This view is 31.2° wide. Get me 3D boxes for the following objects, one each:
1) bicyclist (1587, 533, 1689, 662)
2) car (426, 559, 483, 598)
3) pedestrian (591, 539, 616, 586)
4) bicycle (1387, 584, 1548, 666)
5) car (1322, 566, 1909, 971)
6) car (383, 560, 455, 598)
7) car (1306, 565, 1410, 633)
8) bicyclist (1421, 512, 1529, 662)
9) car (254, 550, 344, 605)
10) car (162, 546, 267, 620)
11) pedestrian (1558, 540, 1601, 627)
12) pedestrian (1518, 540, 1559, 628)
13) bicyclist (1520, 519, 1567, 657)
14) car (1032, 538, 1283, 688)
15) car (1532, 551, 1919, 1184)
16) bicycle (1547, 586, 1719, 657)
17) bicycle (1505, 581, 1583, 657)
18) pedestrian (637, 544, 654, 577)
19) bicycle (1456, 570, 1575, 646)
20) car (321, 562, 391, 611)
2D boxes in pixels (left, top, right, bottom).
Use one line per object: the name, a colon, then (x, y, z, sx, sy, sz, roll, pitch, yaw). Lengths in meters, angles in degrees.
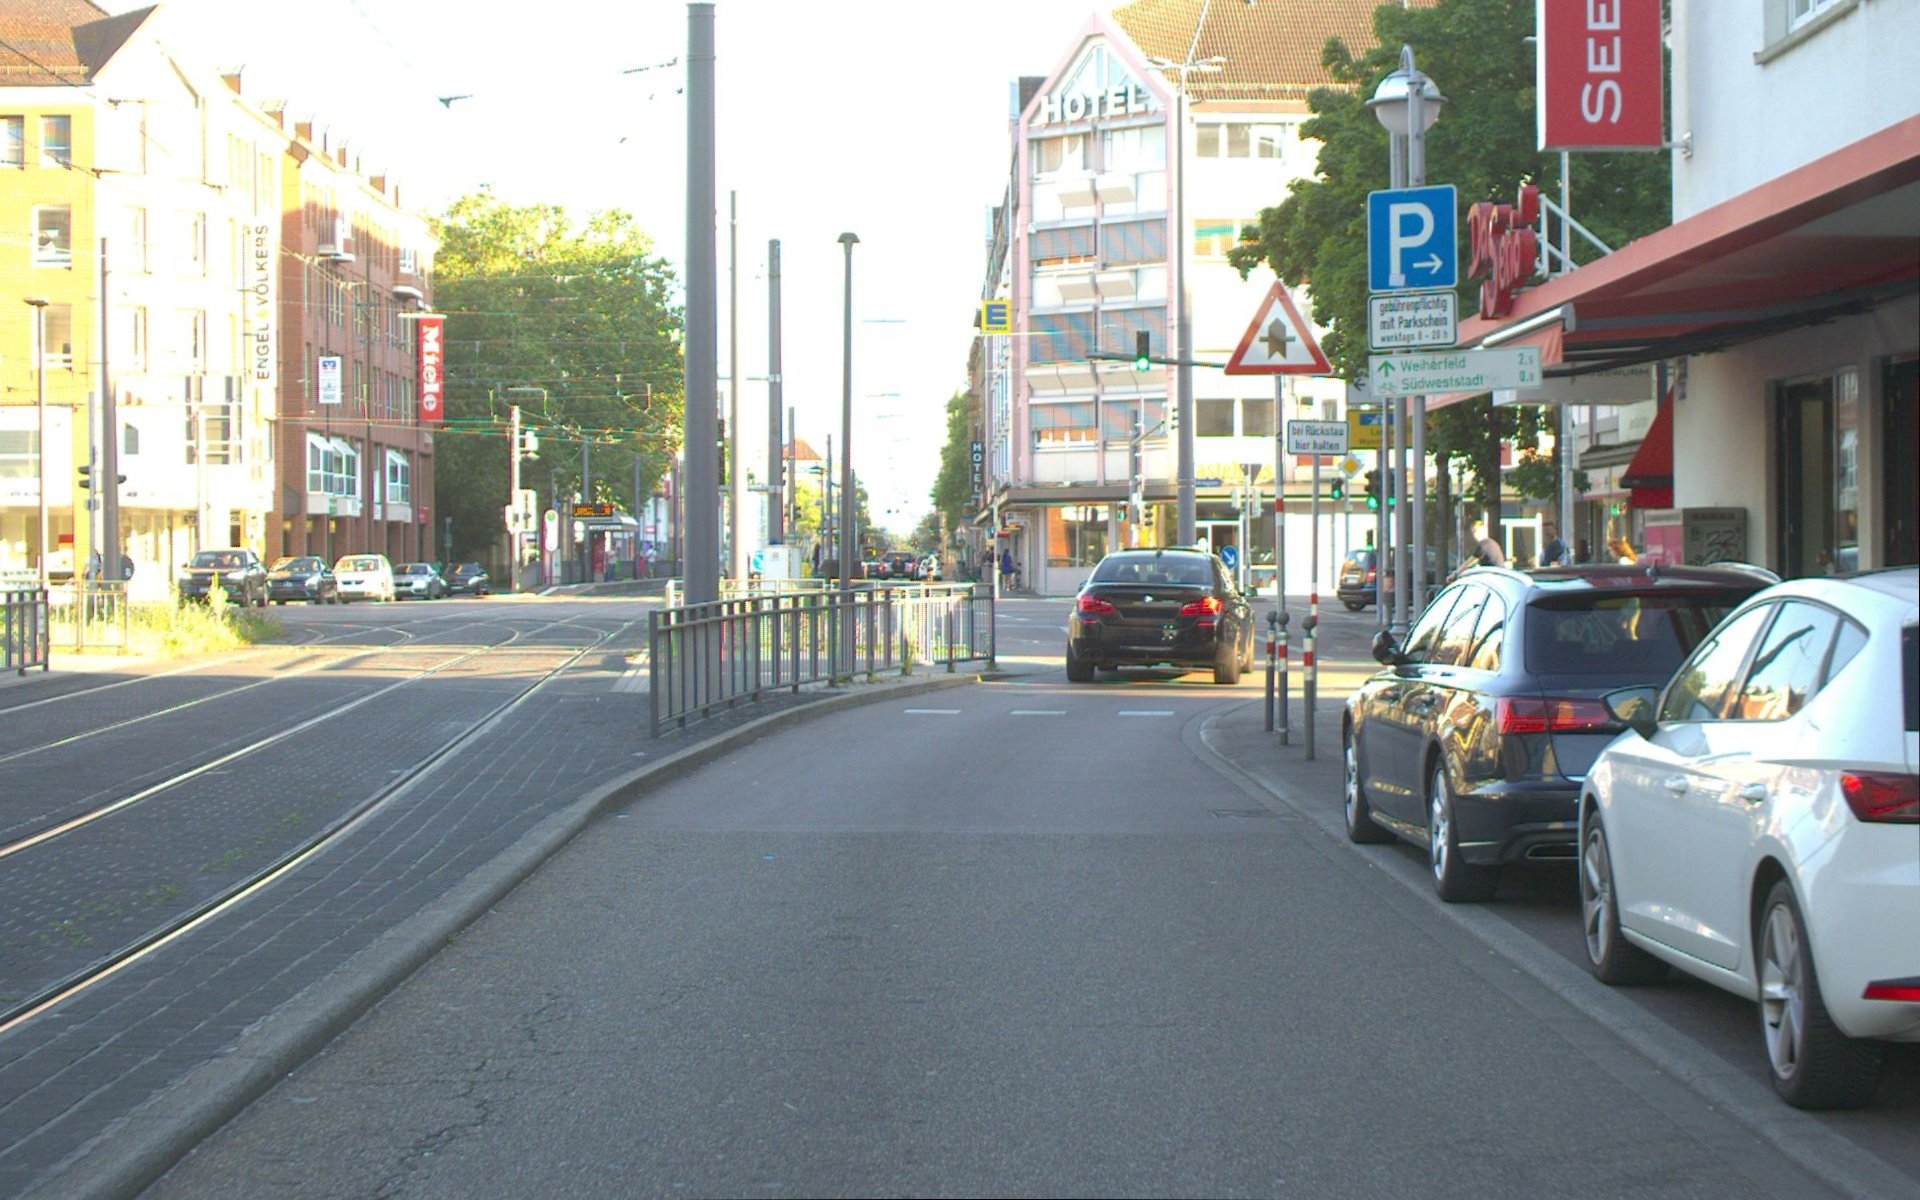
bicyclist: (8.584, -0.040, 43.499, 1.112, 1.617, 0.839, 0, 1, 23)
car: (-21.414, -0.926, 145.818, 1.993, 1.579, 4.479, 0, 1, -3)
pedestrian: (-15.532, -1.632, 149.863, 0.988, 2.007, 0.726, 2, 0, -2)
bicycle: (6.583, 0.317, 44.672, 0.838, 1.016, 2.077, -1, 1, -38)
car: (2.794, 0.632, 15.700, 1.735, 1.507, 4.686, -2, 1, 0)
car: (-20.833, -0.834, 132.455, 1.669, 1.443, 4.201, 0, 1, 6)
car: (9.462, -0.050, 81.966, 1.993, 1.546, 4.000, 0, 1, 0)
bicyclist: (6.675, -0.174, 44.568, 0.838, 1.911, 1.114, -1, 1, -37)
car: (-19.533, -0.691, 101.682, 1.993, 1.579, 4.587, 0, 1, -3)
car: (-19.817, -0.467, 91.559, 1.993, 1.895, 4.812, 0, 1, -3)
pedestrian: (11.767, -0.314, 65.340, 0.723, 1.661, 0.671, 0, 0, 3)
pedestrian: (10.977, -0.306, 65.213, 0.684, 1.661, 0.671, 0, 0, 3)
bicyclist: (7.731, -0.162, 45.584, 0.464, 1.824, 0.559, 0, 1, -9)
car: (2.264, 0.107, 38.412, 1.995, 1.579, 3.997, 0, 1, 15)
car: (2.984, 0.618, 10.406, 1.785, 1.507, 4.052, -2, 1, 0)
bicycle: (8.526, 0.266, 43.530, 2.008, 0.878, 0.839, 0, 0, 23)
bicycle: (7.734, 0.246, 45.589, 0.464, 0.967, 1.801, 0, 1, -9)
pedestrian: (-15.980, -2.029, 174.748, 0.723, 1.675, 0.991, 0, 0, 2)
bicycle: (9.104, 0.125, 56.310, 1.905, 1.231, 0.668, 0, 1, 11)
car: (-20.117, -0.472, 114.595, 1.993, 1.579, 4.114, 0, 1, -6)
